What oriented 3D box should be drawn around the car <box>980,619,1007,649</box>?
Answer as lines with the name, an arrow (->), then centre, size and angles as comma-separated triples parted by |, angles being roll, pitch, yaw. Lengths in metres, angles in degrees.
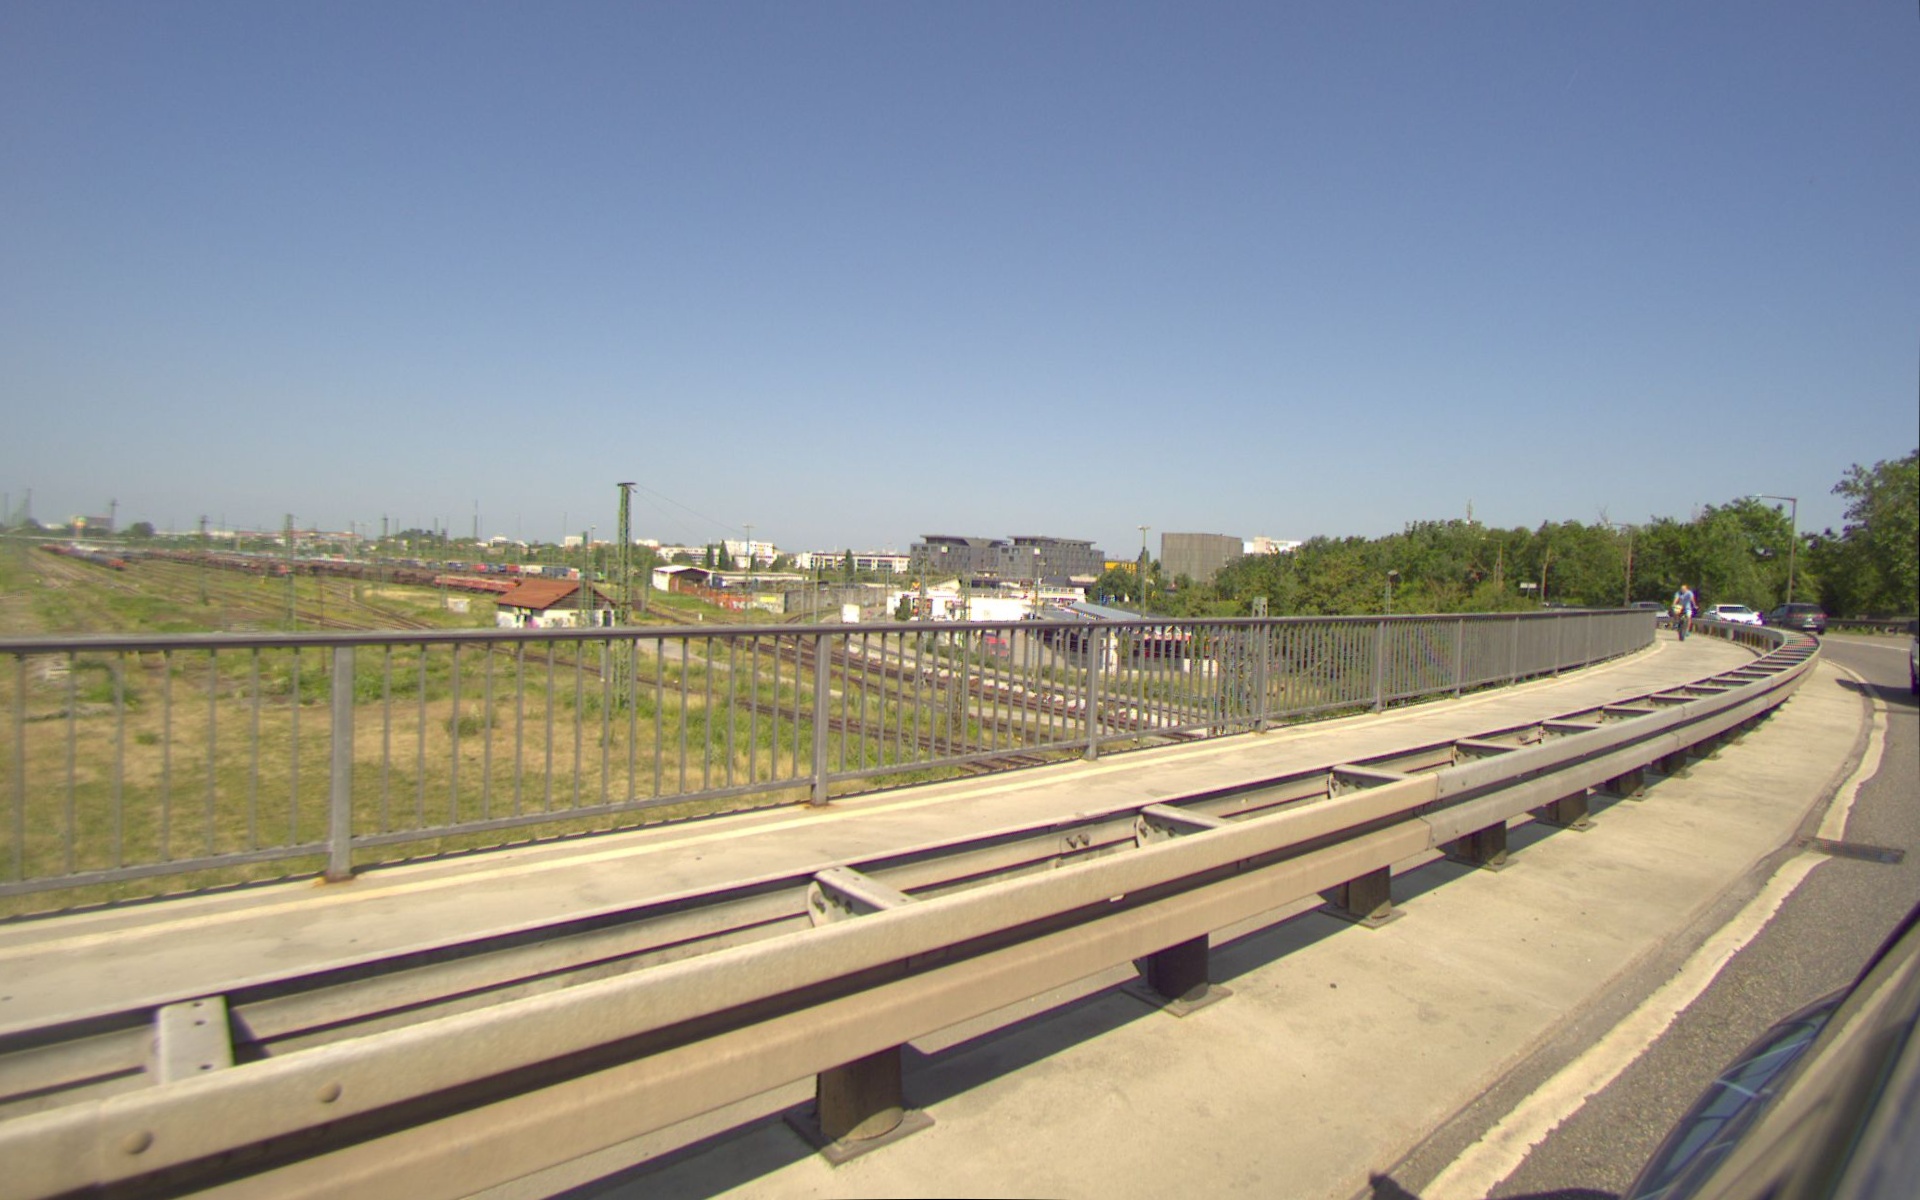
car -> 3.620, 3.603, 109.863 | 2.263, 2.695, 5.384 | -4, 2, -3

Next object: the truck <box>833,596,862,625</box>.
truck -> -18.320, 1.552, 163.772 | 3.744, 4.079, 13.294 | 3, 1, -9

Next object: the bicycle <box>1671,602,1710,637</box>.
bicycle -> 23.434, 0.604, 32.498 | 0.698, 1.032, 1.827 | 5, 2, 28

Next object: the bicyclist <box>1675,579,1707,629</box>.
bicyclist -> 23.497, 0.121, 32.535 | 0.654, 1.538, 0.795 | 4, 1, 28

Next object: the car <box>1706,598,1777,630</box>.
car -> 38.591, 0.677, 50.084 | 1.827, 1.507, 4.118 | 0, 0, 24

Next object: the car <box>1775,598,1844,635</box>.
car -> 42.377, 0.786, 50.565 | 1.661, 1.749, 3.677 | 0, 1, 24
